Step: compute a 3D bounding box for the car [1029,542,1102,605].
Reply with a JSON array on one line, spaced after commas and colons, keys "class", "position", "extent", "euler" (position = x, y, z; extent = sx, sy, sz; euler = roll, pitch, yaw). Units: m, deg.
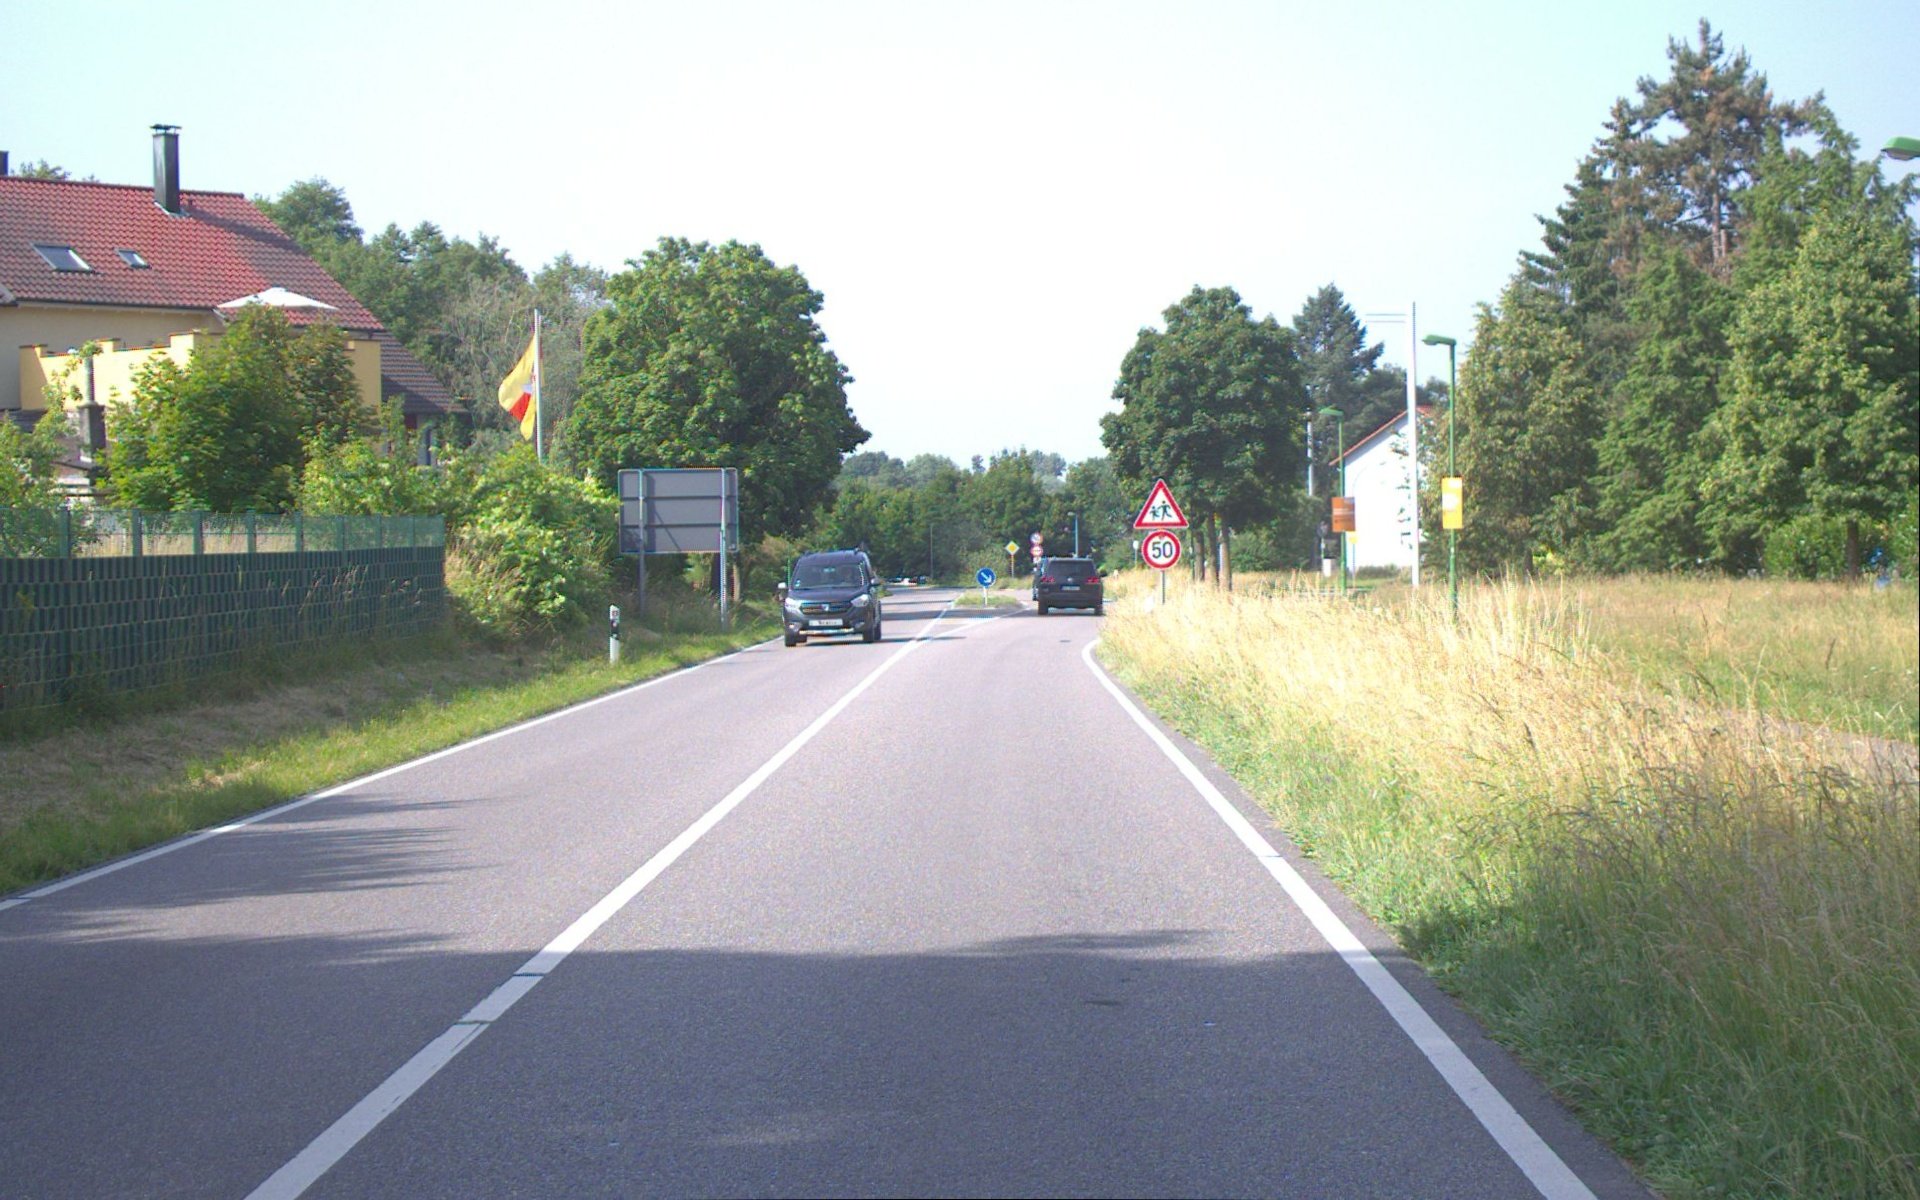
[{"class": "car", "position": [3.112, -0.805, 101.780], "extent": [1.925, 1.765, 4.000], "euler": [-1, 1, -1]}]

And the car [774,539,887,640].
[{"class": "car", "position": [-2.482, -0.231, 66.708], "extent": [1.939, 1.811, 4.242], "euler": [-3, 1, 0]}]
